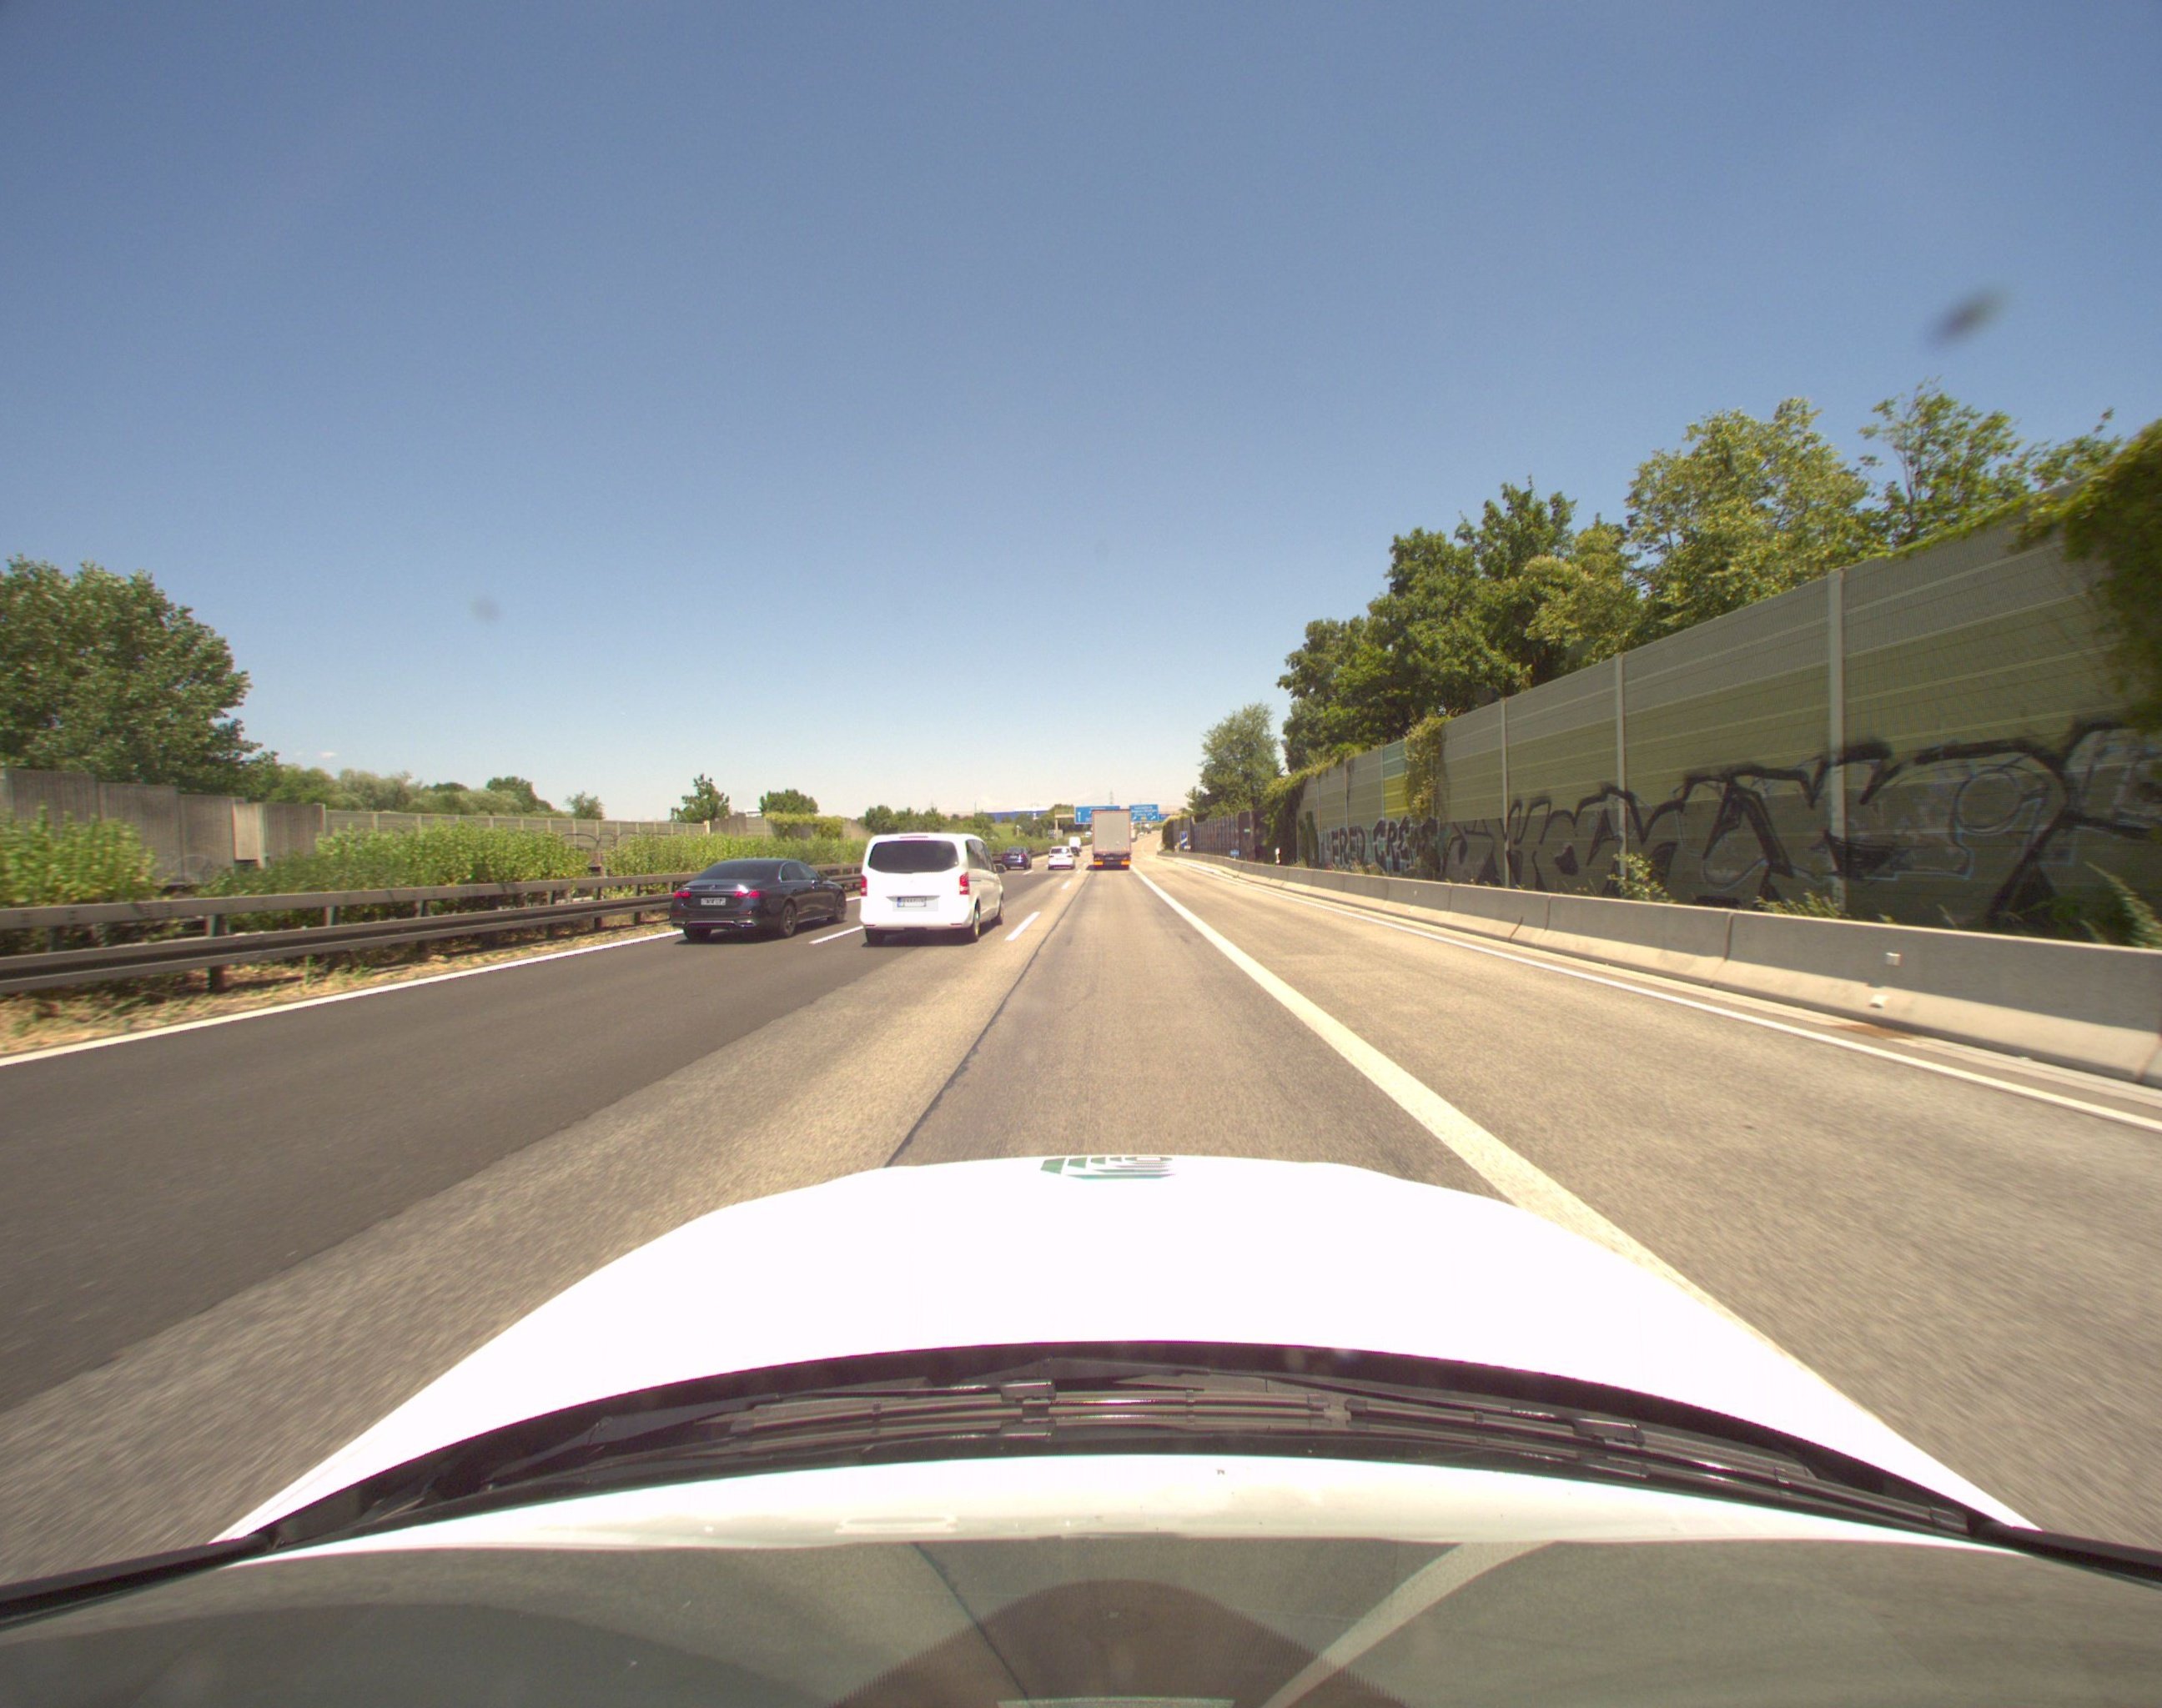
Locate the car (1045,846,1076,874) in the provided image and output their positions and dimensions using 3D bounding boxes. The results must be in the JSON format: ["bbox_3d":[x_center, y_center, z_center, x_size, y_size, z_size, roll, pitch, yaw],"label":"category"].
[{"bbox_3d":[-1.395,0.395,57.931,1.897,1.851,4.633,-1,0,2],"label":"car"}]

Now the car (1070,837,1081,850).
[{"bbox_3d":[-0.986,-1.921,147.699,1.986,2.374,4.001,0,-1,2],"label":"car"}]

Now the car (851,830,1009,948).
[{"bbox_3d":[-2.614,0.547,15.305,1.923,1.851,4.694,-1,0,2],"label":"car"}]

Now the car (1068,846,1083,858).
[{"bbox_3d":[-0.713,-0.282,113.358,1.897,1.689,4.633,-1,0,2],"label":"car"}]

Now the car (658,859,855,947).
[{"bbox_3d":[-6.159,0.843,16.234,1.750,1.408,5.042,-1,0,2],"label":"car"}]

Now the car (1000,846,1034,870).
[{"bbox_3d":[-4.576,0.273,58.993,1.897,1.689,4.633,-1,0,2],"label":"car"}]

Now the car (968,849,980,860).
[{"bbox_3d":[-21.318,0.061,162.043,1.664,2.013,4.002,-1,0,2],"label":"car"}]

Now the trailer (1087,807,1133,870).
[{"bbox_3d":[2.089,-1.050,58.588,2.917,4.015,12.043,-1,0,2],"label":"trailer"}]
